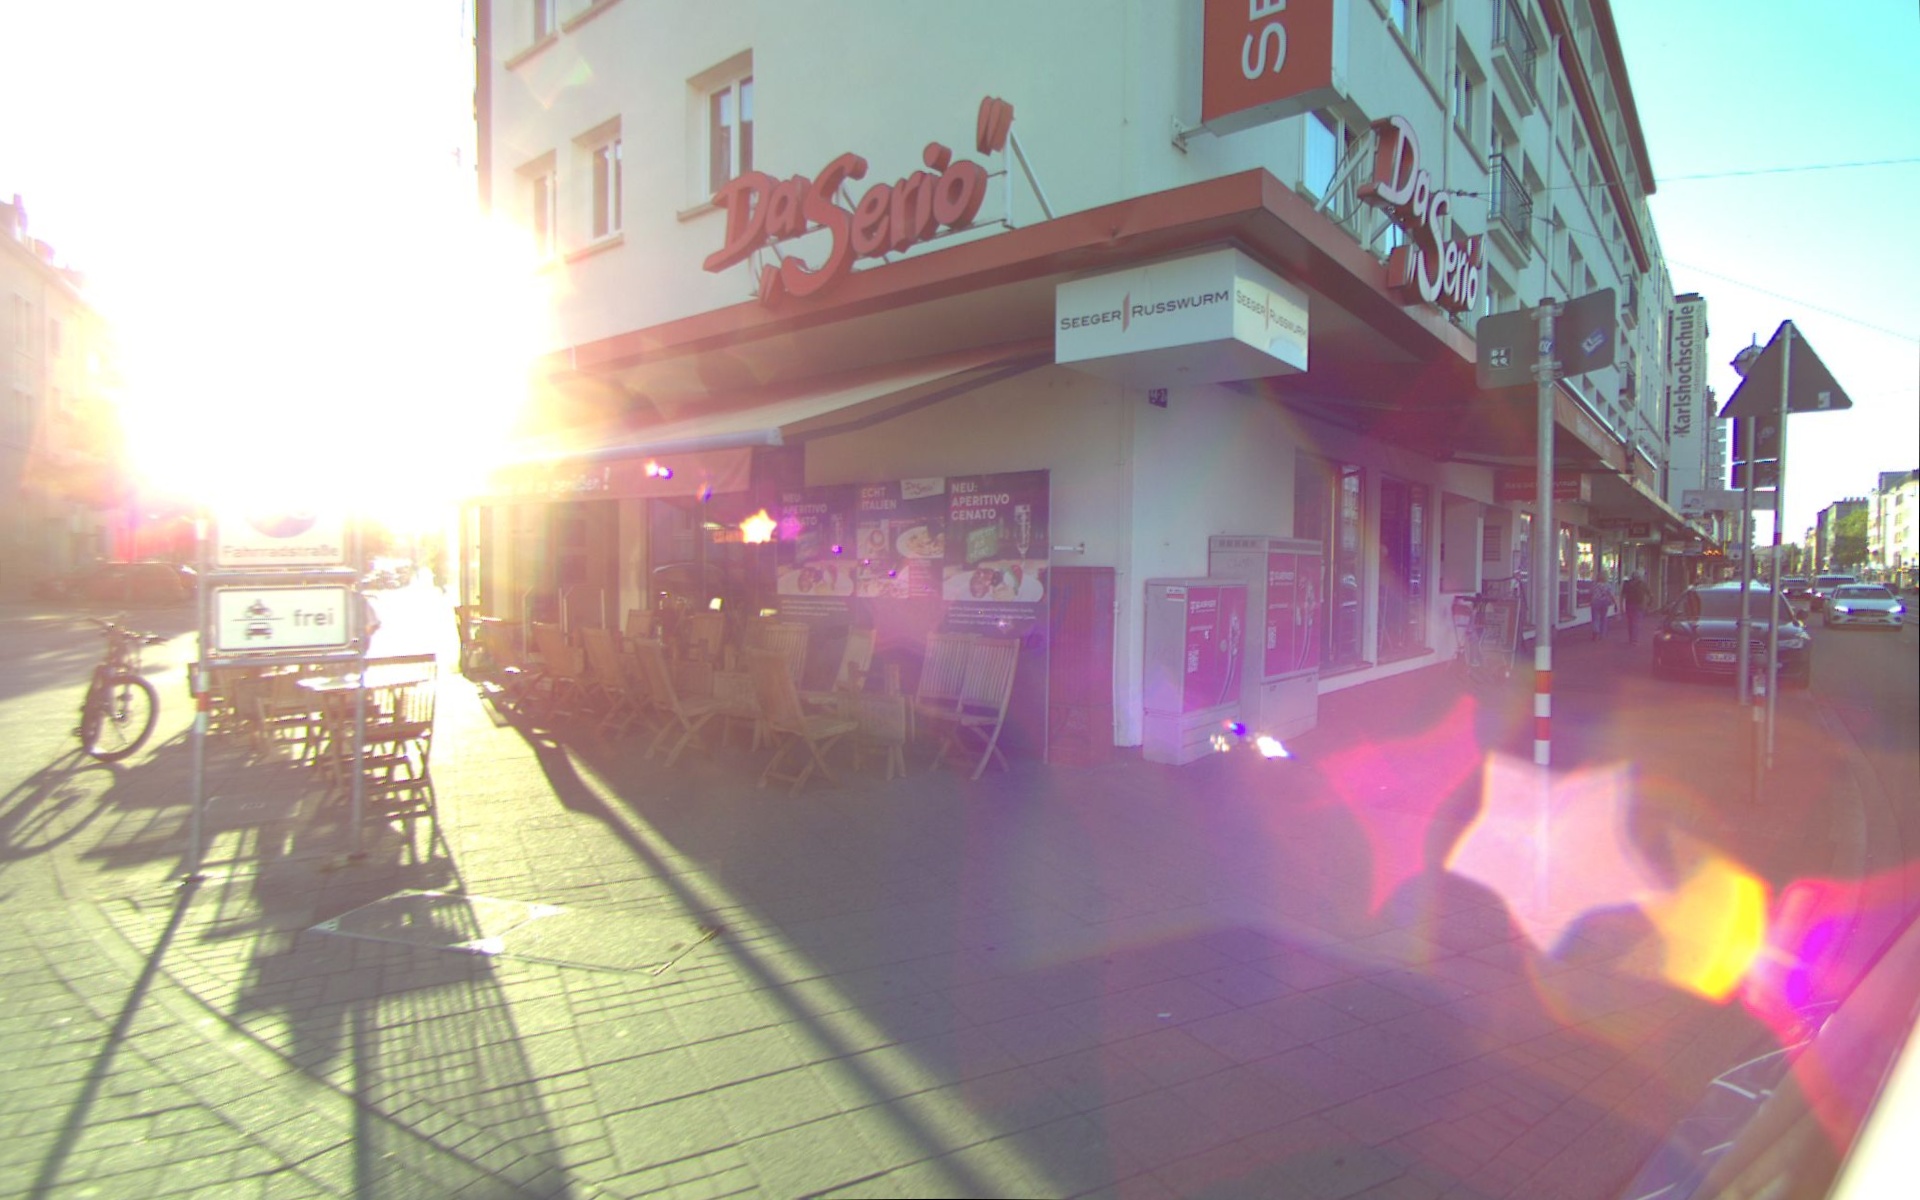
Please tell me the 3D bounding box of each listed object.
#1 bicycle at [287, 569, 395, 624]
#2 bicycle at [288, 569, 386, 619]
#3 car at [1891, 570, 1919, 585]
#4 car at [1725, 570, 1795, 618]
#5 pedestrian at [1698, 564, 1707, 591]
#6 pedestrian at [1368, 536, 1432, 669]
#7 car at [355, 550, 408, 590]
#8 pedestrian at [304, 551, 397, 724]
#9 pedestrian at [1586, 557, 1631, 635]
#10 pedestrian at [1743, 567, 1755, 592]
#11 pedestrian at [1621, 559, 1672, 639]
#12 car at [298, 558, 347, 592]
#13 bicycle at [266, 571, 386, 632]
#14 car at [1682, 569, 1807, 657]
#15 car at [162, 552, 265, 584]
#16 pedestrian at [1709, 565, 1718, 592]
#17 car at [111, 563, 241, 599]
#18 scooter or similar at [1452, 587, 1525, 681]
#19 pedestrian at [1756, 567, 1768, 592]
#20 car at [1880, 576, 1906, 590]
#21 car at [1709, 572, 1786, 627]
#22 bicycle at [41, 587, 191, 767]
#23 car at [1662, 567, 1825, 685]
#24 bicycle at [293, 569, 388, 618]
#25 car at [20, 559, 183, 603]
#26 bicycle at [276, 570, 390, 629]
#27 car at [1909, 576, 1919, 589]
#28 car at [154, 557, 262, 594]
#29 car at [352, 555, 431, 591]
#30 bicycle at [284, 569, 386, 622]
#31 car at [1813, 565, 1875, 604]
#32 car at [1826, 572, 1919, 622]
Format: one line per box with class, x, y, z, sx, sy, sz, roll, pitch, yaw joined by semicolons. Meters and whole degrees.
bicycle;-14.272;-0.073;23.398;2.070;1.235;0.705;1;1;-29
bicycle;-15.946;-0.151;25.959;2.070;1.235;0.705;1;1;-29
car;108.557;-2.598;116.238;1.990;1.571;3.945;2;2;39
car;28.546;-0.266;36.208;1.786;1.530;4.649;4;3;37
pedestrian;54.339;-1.650;74.048;0.450;1.922;0.415;2;2;39
pedestrian;6.012;0.027;13.843;0.592;1.782;0.528;0;1;-5
car;-30.710;-1.558;53.862;1.958;2.039;4.266;-1;1;-23
pedestrian;-5.729;0.323;9.518;0.570;1.560;0.566;1;2;38
pedestrian;15.202;-0.105;23.730;0.727;1.762;0.851;3;3;39
pedestrian;55.974;-1.438;71.766;0.607;1.775;0.596;2;2;39
pedestrian;15.469;-0.046;22.799;0.826;1.739;0.831;3;3;39
car;-40.266;-1.581;63.984;1.958;2.039;4.007;-1;1;-23
bicycle;-13.219;0.042;21.187;2.070;1.235;0.705;1;1;-29
car;15.916;0.181;20.522;1.783;1.530;3.995;4;3;39
car;-38.993;-1.663;52.928;1.987;1.627;3.950;1;2;35
pedestrian;54.297;-1.577;72.904;0.454;1.922;0.415;2;2;39
car;-32.361;-0.796;41.855;1.990;1.404;3.944;2;2;39
scooter or similar;7.325;0.442;14.075;0.349;1.217;1.249;0;1;1
pedestrian;56.517;-1.468;71.338;0.603;1.748;0.637;2;2;39
car;113.363;-2.087;122.992;1.990;1.571;3.945;2;2;38
car;24.562;-0.080;31.533;1.733;1.530;4.243;4;3;39
bicycle;-7.145;0.563;8.529;2.105;1.303;0.694;2;2;42
car;12.319;0.282;15.910;1.733;1.530;4.620;4;3;39
bicycle;-16.264;-0.159;26.632;2.070;1.235;0.705;1;1;-29
car;-30.273;-0.710;35.803;1.979;1.449;3.967;1;2;25
bicycle;-13.728;-0.011;22.237;2.070;1.235;0.705;1;1;-29
car;119.989;-2.214;126.213;1.990;1.571;3.945;2;2;38
car;-37.451;-1.230;50.471;1.987;1.731;3.950;1;2;35
car;-33.692;-1.625;60.134;3.918;2.039;2.003;-1;1;-25
bicycle;-15.304;-0.108;24.828;2.070;1.235;0.705;1;1;-29
car;43.616;-0.782;50.002;1.989;1.838;3.947;2;2;37
car;29.669;-0.144;32.967;1.990;1.476;3.946;2;2;38
